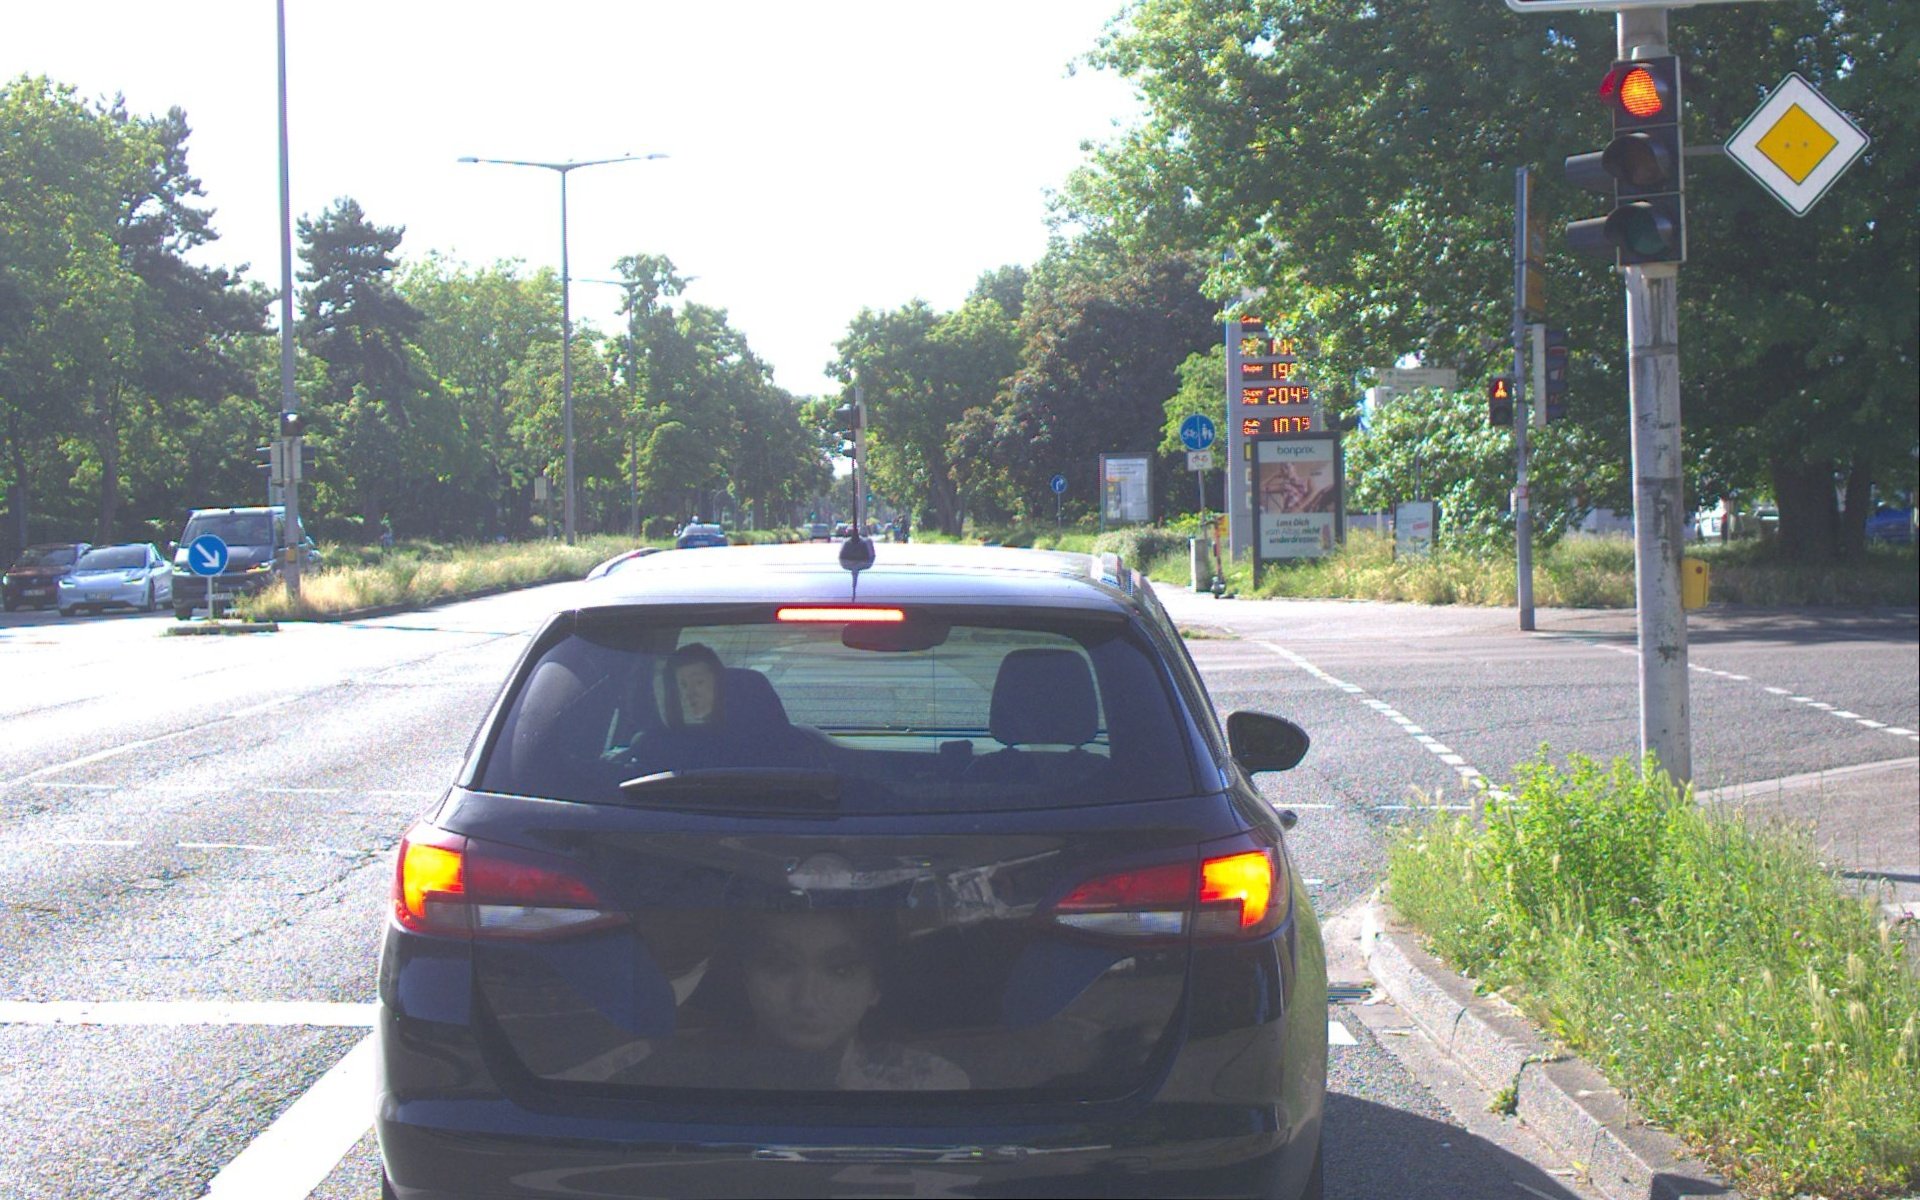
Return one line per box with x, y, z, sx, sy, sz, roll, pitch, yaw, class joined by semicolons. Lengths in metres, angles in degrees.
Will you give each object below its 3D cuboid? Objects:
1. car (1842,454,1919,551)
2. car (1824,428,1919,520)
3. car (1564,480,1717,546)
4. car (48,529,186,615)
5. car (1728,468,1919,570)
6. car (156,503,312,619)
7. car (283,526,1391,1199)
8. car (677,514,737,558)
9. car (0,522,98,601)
16.792;-1.585;57.445;3.836;1.558;1.805;1;1;-32;car
18.633;-2.387;65.775;3.711;1.679;1.704;1;1;-3;car
18.286;-2.336;92.455;3.711;1.679;1.704;1;1;-3;car
-17.260;-0.586;70.574;1.864;1.678;4.000;1;1;-1;car
15.418;-1.399;59.878;3.711;1.679;1.704;1;1;-27;car
-13.175;-0.715;62.595;1.993;2.007;4.000;1;1;-1;car
-0.222;0.613;7.365;1.755;1.504;3.809;0;1;-1;car
-9.146;-2.306;124.500;1.888;1.546;4.000;-1;1;-1;car
-21.527;-0.909;79.870;1.993;1.744;4.000;-2;1;-1;car
